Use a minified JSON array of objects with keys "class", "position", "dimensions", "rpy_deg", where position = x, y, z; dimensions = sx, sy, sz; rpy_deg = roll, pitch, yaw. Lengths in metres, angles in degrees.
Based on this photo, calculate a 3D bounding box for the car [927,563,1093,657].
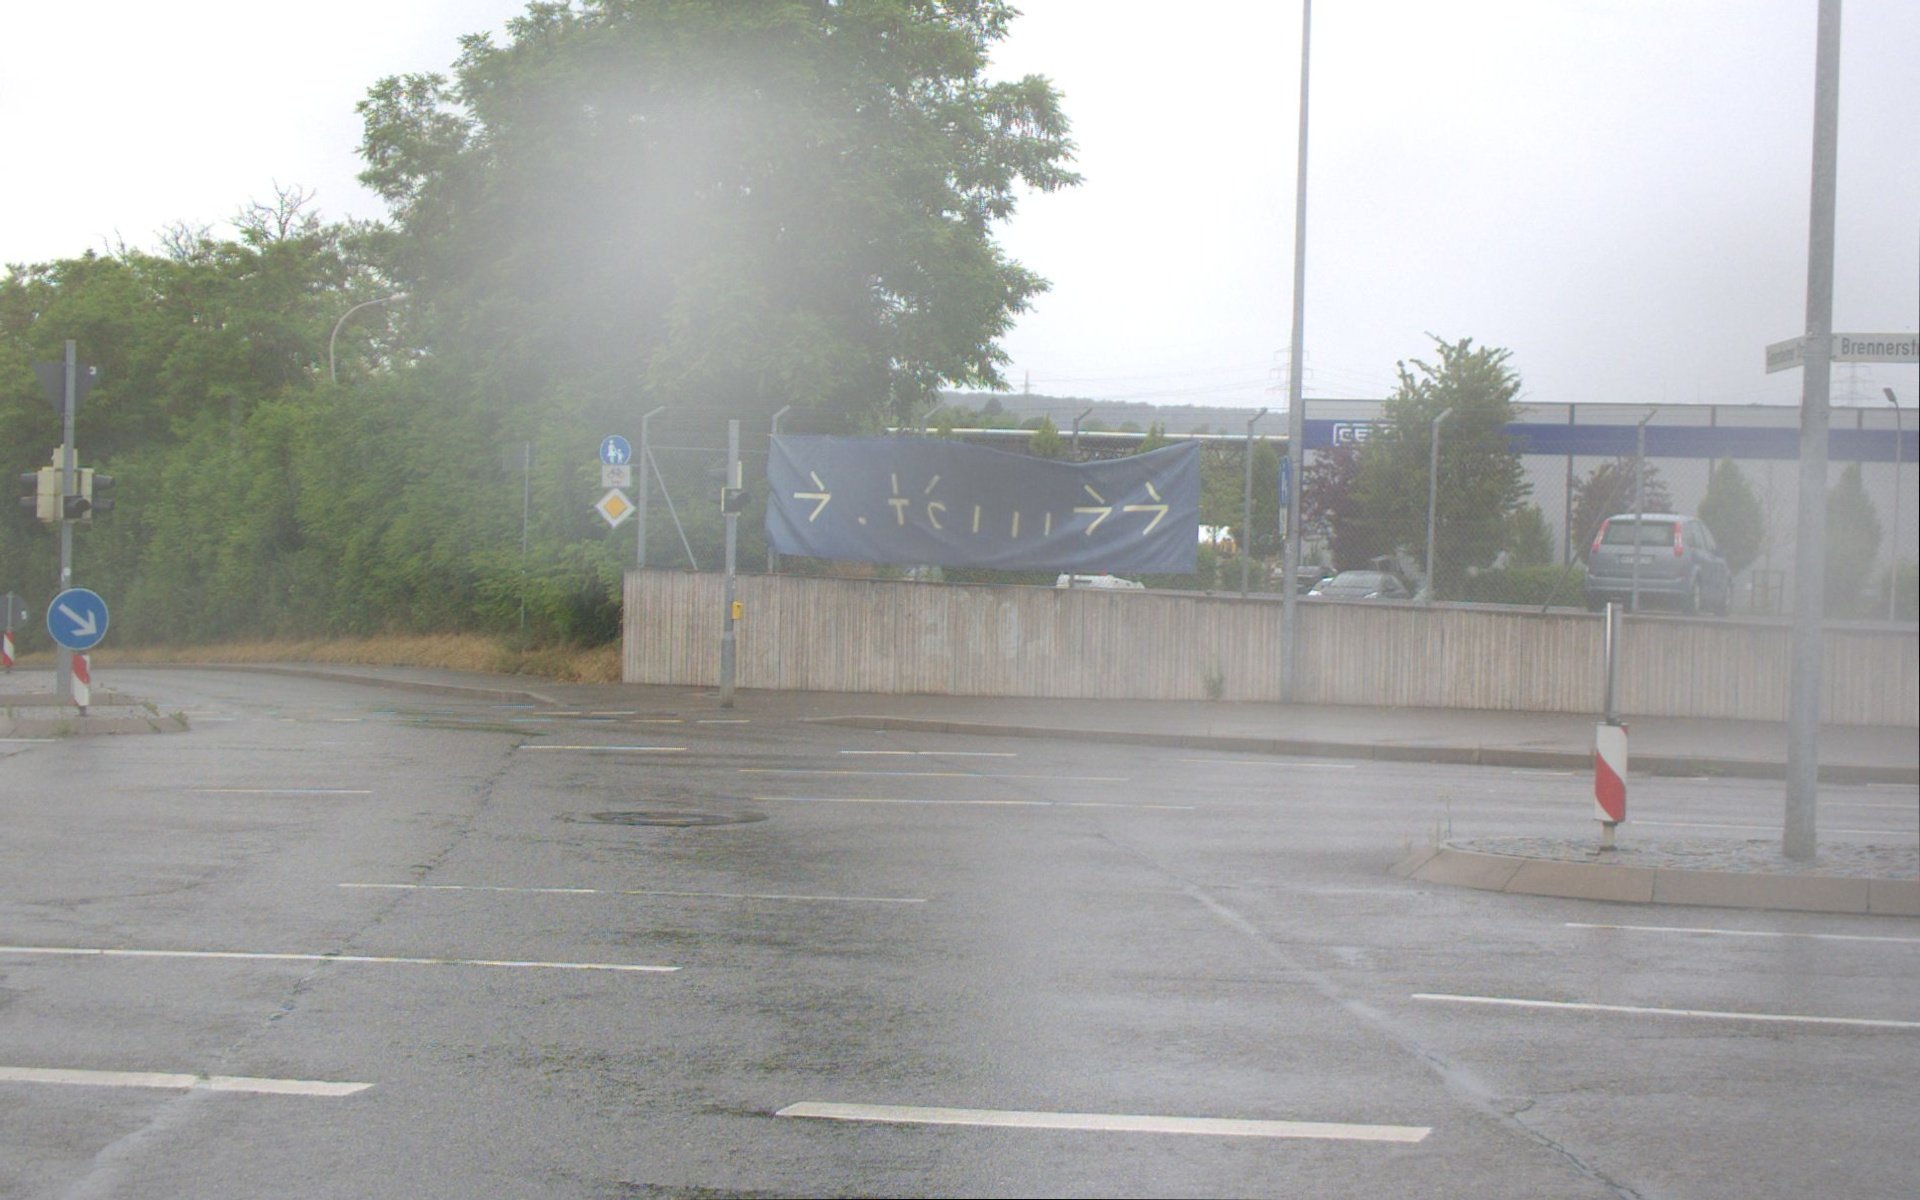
[{"class":"car","position":[0.902,0.168,59.997],"dimensions":[1.744,1.564,3.527],"rpy_deg":[1,0,21]}]

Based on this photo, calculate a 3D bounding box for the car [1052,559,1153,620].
[{"class":"car","position":[3.908,-0.286,93.810],"dimensions":[1.668,1.601,3.527],"rpy_deg":[1,0,21]}]

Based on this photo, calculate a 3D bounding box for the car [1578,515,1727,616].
[{"class":"car","position":[11.152,-0.541,55.224],"dimensions":[1.744,1.548,3.527],"rpy_deg":[1,0,21]}]

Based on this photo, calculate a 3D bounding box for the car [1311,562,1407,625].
[{"class":"car","position":[10.504,-0.176,90.361],"dimensions":[1.668,1.601,3.527],"rpy_deg":[1,0,21]}]
